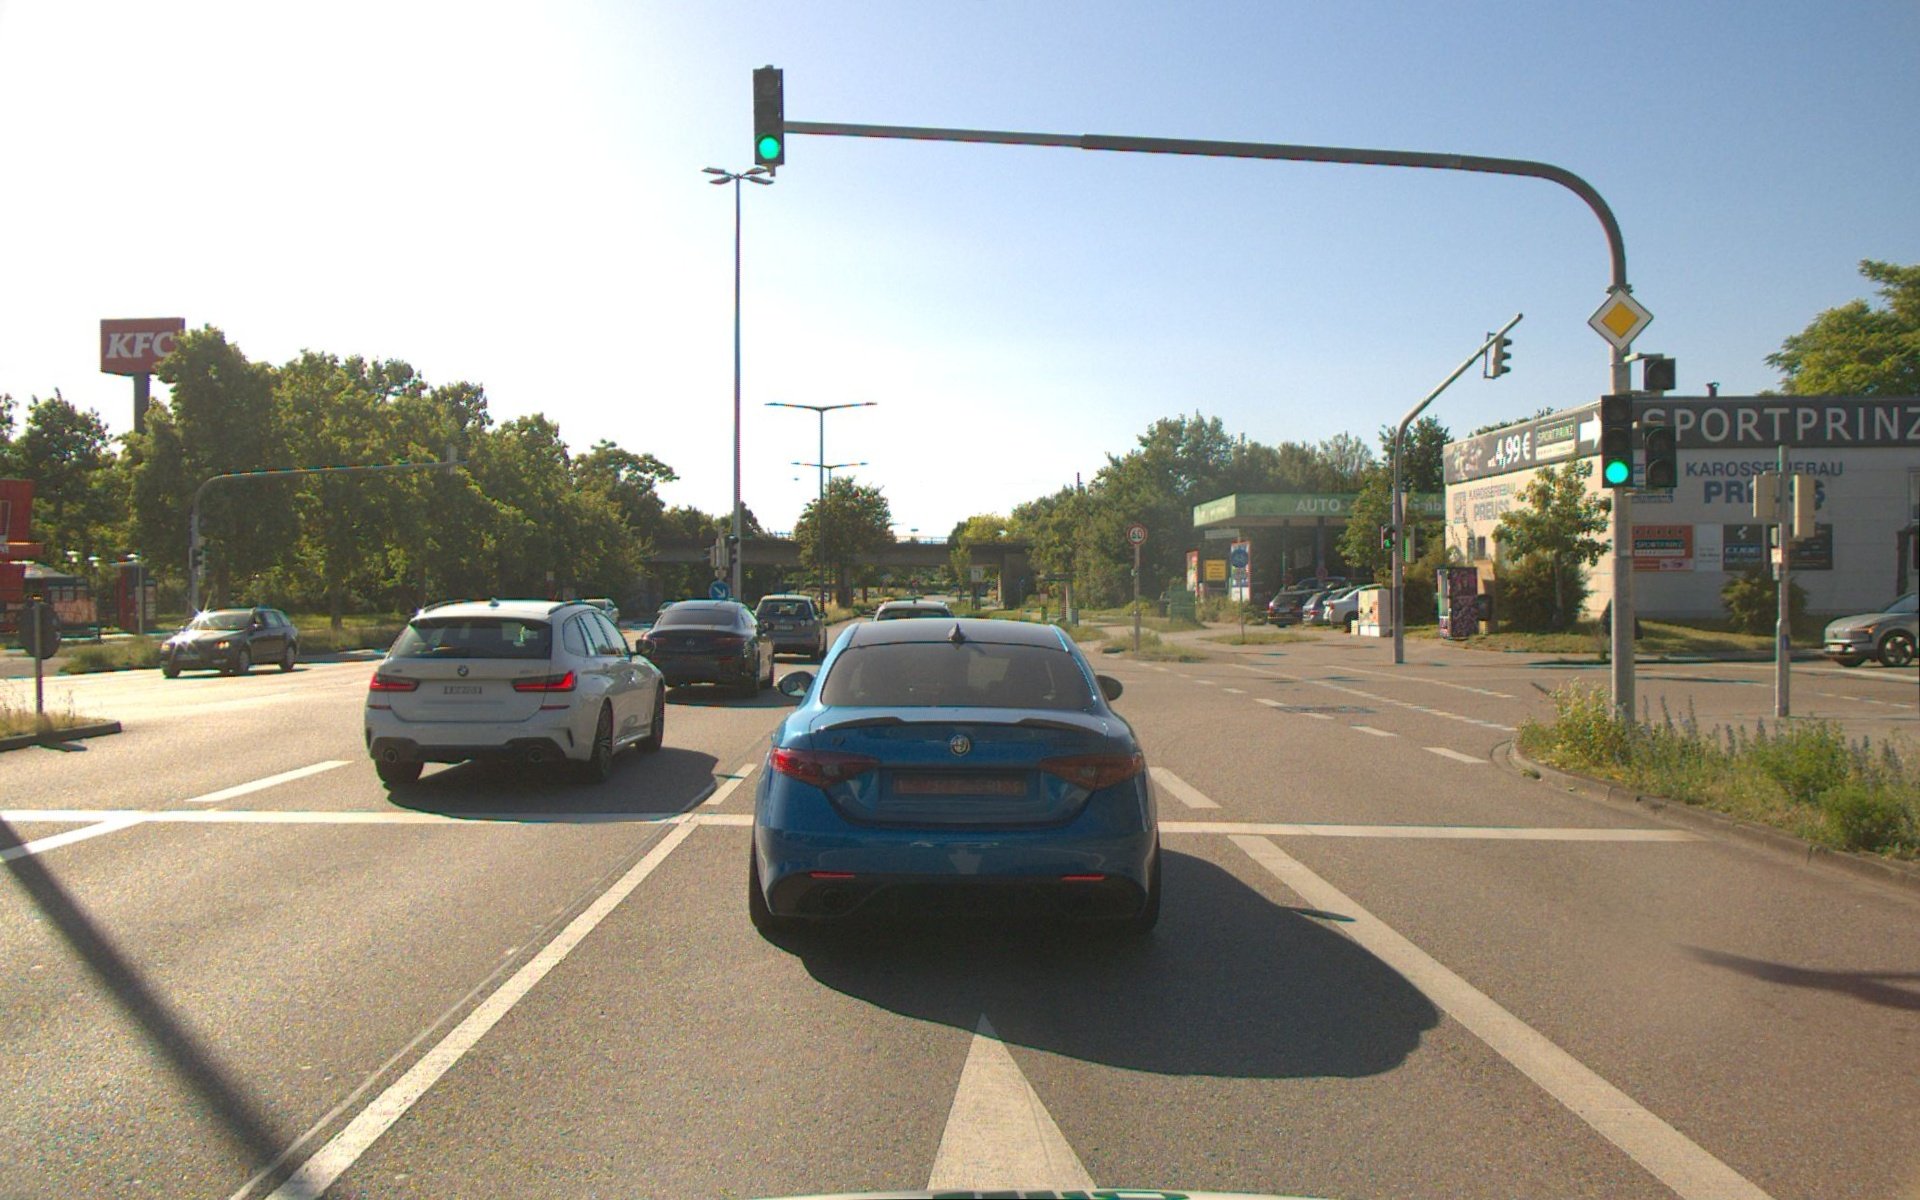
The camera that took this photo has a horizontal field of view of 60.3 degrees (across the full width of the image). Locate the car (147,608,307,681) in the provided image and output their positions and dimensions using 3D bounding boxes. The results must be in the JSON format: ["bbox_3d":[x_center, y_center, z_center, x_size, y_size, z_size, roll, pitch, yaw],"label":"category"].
[{"bbox_3d":[-16.860,0.983,38.293,1.723,1.516,4.477,-2,0,-1],"label":"car"}]

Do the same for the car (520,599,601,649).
[{"bbox_3d":[-13.053,0.754,54.223,1.723,1.516,3.836,-2,0,-1],"label":"car"}]

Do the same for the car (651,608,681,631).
[{"bbox_3d":[-21.159,1.377,119.087,1.583,1.586,3.356,1,-1,-1],"label":"car"}]

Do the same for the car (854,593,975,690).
[{"bbox_3d":[-0.765,0.656,27.391,1.813,1.443,4.401,1,-1,-2],"label":"car"}]

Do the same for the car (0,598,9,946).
[{"bbox_3d":[-3.221,0.717,2.019,1.724,1.516,4.400,1,-1,-3],"label":"car"}]

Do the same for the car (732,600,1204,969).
[{"bbox_3d":[-0.038,0.760,8.787,1.857,1.443,4.401,1,-1,-2],"label":"car"}]

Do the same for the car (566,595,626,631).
[{"bbox_3d":[-17.678,0.638,80.429,1.948,1.658,4.477,-1,0,-1],"label":"car"}]

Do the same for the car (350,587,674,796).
[{"bbox_3d":[-3.696,0.699,14.461,1.749,1.516,4.401,1,-1,-2],"label":"car"}]

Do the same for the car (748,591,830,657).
[{"bbox_3d":[-4.218,0.594,41.365,1.723,1.516,4.401,1,-1,-2],"label":"car"}]

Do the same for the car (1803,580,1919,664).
[{"bbox_3d":[19.618,0.410,33.515,4.201,1.576,1.764,-1,1,-3],"label":"car"}]

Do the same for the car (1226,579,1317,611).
[{"bbox_3d":[16.518,-0.258,87.760,4.457,1.516,1.765,-2,0,0],"label":"car"}]

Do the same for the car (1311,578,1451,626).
[{"bbox_3d":[14.701,0.074,57.891,4.397,1.479,1.858,-2,0,0],"label":"car"}]

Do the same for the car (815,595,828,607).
[{"bbox_3d":[-19.542,0.211,233.990,1.539,1.646,3.999,1,-1,-1],"label":"car"}]

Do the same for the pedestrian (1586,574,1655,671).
[{"bbox_3d":[12.346,0.413,30.941,0.906,1.766,0.938,1,-1,-1],"label":"pedestrian"}]

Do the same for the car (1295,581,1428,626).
[{"bbox_3d":[14.755,0.130,60.917,4.397,1.479,1.858,-2,0,0],"label":"car"}]

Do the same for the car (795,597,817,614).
[{"bbox_3d":[-14.741,0.564,158.857,1.723,1.516,4.477,-2,0,-1],"label":"car"}]

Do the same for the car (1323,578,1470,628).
[{"bbox_3d":[14.549,0.091,55.255,4.397,1.479,1.858,-2,0,0],"label":"car"}]

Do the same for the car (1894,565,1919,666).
[{"bbox_3d":[19.658,0.255,30.180,4.294,1.833,1.764,-1,1,-3],"label":"car"}]

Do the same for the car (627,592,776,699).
[{"bbox_3d":[-3.953,0.677,26.000,1.760,1.516,4.473,1,-1,-2],"label":"car"}]

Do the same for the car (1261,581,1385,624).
[{"bbox_3d":[14.120,0.087,64.493,4.397,1.479,1.858,-2,0,0],"label":"car"}]

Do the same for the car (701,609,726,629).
[{"bbox_3d":[-21.010,1.594,141.044,1.577,1.675,3.461,1,-1,-1],"label":"car"}]
